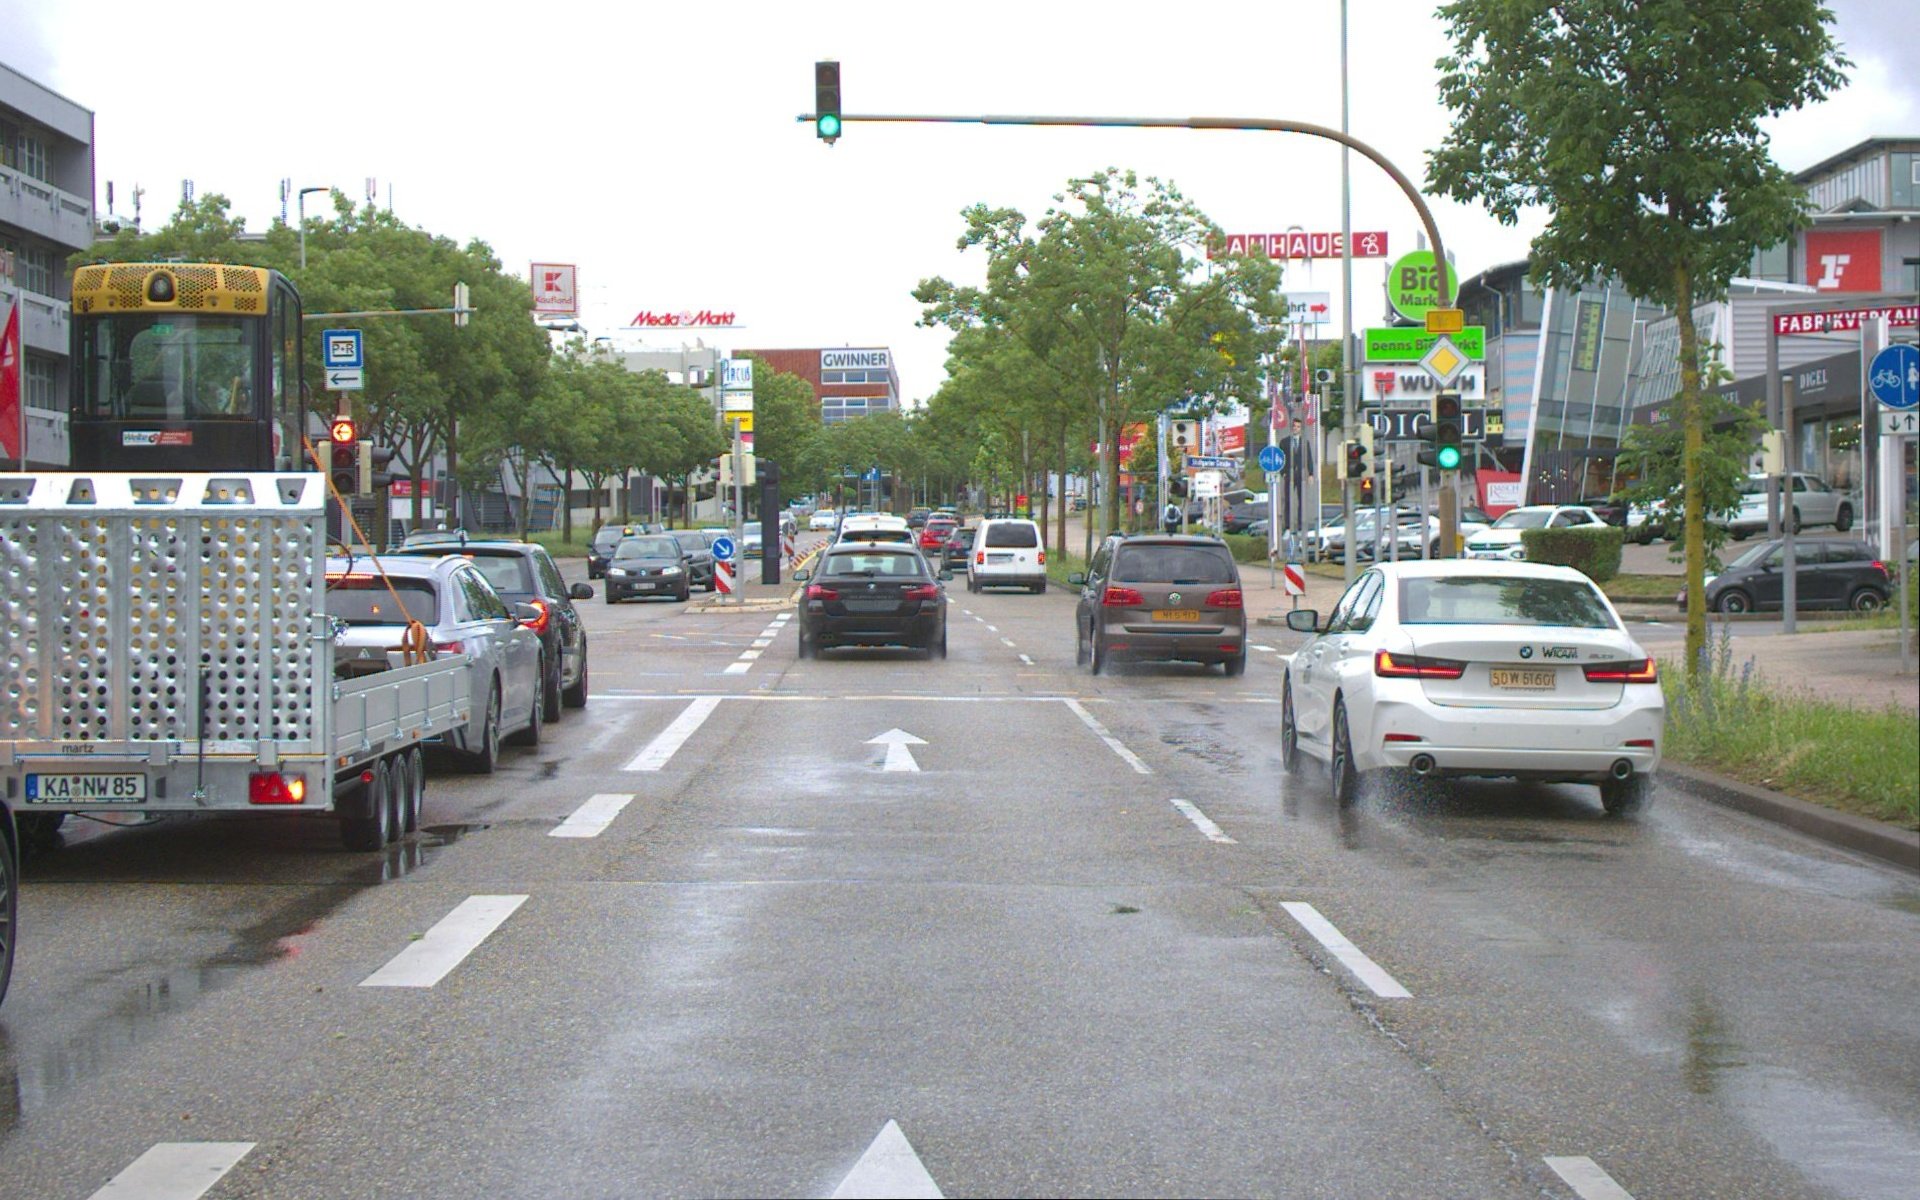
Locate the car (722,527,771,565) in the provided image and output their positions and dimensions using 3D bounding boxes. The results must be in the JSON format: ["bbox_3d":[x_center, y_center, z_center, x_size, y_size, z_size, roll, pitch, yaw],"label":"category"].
[{"bbox_3d":[-8.488,-2.162,136.882,1.723,1.393,4.790,-3,1,-1],"label":"car"}]

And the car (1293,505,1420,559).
[{"bbox_3d":[11.909,-2.052,103.191,3.589,1.530,1.796,-3,2,-40],"label":"car"}]

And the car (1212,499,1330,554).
[{"bbox_3d":[11.302,-2.687,124.980,4.111,1.898,1.800,-1,1,1],"label":"car"}]

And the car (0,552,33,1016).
[{"bbox_3d":[-3.982,0.657,8.670,1.993,1.424,4.554,-2,2,0],"label":"car"}]

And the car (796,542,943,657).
[{"bbox_3d":[-1.147,-0.035,43.769,1.781,1.393,4.000,0,1,-1],"label":"car"}]

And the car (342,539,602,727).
[{"bbox_3d":[-4.134,0.228,29.687,1.713,1.484,4.078,-1,1,-1],"label":"car"}]

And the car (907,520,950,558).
[{"bbox_3d":[-1.247,-2.448,137.081,1.695,1.438,3.989,-1,1,0],"label":"car"}]

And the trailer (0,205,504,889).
[{"bbox_3d":[-3.794,-0.255,17.398,2.372,2.887,5.546,-1,1,-2],"label":"trailer"}]

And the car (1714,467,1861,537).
[{"bbox_3d":[21.441,-2.541,89.016,4.143,1.765,1.737,-2,1,-44],"label":"car"}]

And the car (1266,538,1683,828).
[{"bbox_3d":[3.002,0.419,20.999,1.801,1.539,4.620,1,1,0],"label":"car"}]

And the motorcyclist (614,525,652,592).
[{"bbox_3d":[-7.599,-0.974,79.982,0.806,1.554,1.268,0,1,-3],"label":"motorcyclist"}]

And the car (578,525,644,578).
[{"bbox_3d":[-10.993,-1.548,108.457,1.910,1.603,4.364,-1,1,-4],"label":"car"}]

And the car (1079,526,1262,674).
[{"bbox_3d":[2.392,-0.047,40.090,1.801,1.581,4.451,1,1,0],"label":"car"}]

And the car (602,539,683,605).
[{"bbox_3d":[-6.929,-0.627,75.383,1.682,1.372,4.001,-1,1,-4],"label":"car"}]

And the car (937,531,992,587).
[{"bbox_3d":[0.132,-1.271,107.740,1.685,1.678,3.403,1,0,0],"label":"car"}]

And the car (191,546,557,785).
[{"bbox_3d":[-3.916,0.371,23.735,1.765,1.453,4.781,-1,1,-1],"label":"car"}]

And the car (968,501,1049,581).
[{"bbox_3d":[1.165,-1.440,83.601,1.781,1.860,4.000,-1,1,-1],"label":"car"}]

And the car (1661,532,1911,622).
[{"bbox_3d":[14.753,-0.407,61.544,3.979,1.484,1.818,-1,0,0],"label":"car"}]

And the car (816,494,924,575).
[{"bbox_3d":[-1.617,-1.156,60.667,1.682,1.372,4.001,-1,1,-4],"label":"car"}]

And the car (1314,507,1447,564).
[{"bbox_3d":[11.684,-1.795,95.490,3.588,1.530,1.643,-2,1,-40],"label":"car"}]

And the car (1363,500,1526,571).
[{"bbox_3d":[12.664,-1.698,89.750,4.016,1.657,1.982,-4,3,-40],"label":"car"}]

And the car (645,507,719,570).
[{"bbox_3d":[-6.812,-1.487,84.442,1.744,1.484,4.829,-1,0,-4],"label":"car"}]

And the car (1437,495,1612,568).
[{"bbox_3d":[12.775,-1.557,77.646,1.930,1.571,4.278,0,1,41],"label":"car"}]

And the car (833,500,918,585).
[{"bbox_3d":[-2.040,-1.384,84.205,1.993,2.007,4.000,1,0,-1],"label":"car"}]

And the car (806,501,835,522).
[{"bbox_3d":[-9.510,-6.035,234.985,1.943,1.443,4.000,0,1,-2],"label":"car"}]

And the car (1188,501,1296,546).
[{"bbox_3d":[10.836,-2.940,131.966,4.111,1.697,1.799,0,1,5],"label":"car"}]

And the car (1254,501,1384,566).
[{"bbox_3d":[11.862,-2.216,113.764,4.111,2.098,1.800,0,1,1],"label":"car"}]

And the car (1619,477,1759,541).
[{"bbox_3d":[20.953,-2.619,98.685,4.142,1.765,1.737,-2,1,-40],"label":"car"}]
